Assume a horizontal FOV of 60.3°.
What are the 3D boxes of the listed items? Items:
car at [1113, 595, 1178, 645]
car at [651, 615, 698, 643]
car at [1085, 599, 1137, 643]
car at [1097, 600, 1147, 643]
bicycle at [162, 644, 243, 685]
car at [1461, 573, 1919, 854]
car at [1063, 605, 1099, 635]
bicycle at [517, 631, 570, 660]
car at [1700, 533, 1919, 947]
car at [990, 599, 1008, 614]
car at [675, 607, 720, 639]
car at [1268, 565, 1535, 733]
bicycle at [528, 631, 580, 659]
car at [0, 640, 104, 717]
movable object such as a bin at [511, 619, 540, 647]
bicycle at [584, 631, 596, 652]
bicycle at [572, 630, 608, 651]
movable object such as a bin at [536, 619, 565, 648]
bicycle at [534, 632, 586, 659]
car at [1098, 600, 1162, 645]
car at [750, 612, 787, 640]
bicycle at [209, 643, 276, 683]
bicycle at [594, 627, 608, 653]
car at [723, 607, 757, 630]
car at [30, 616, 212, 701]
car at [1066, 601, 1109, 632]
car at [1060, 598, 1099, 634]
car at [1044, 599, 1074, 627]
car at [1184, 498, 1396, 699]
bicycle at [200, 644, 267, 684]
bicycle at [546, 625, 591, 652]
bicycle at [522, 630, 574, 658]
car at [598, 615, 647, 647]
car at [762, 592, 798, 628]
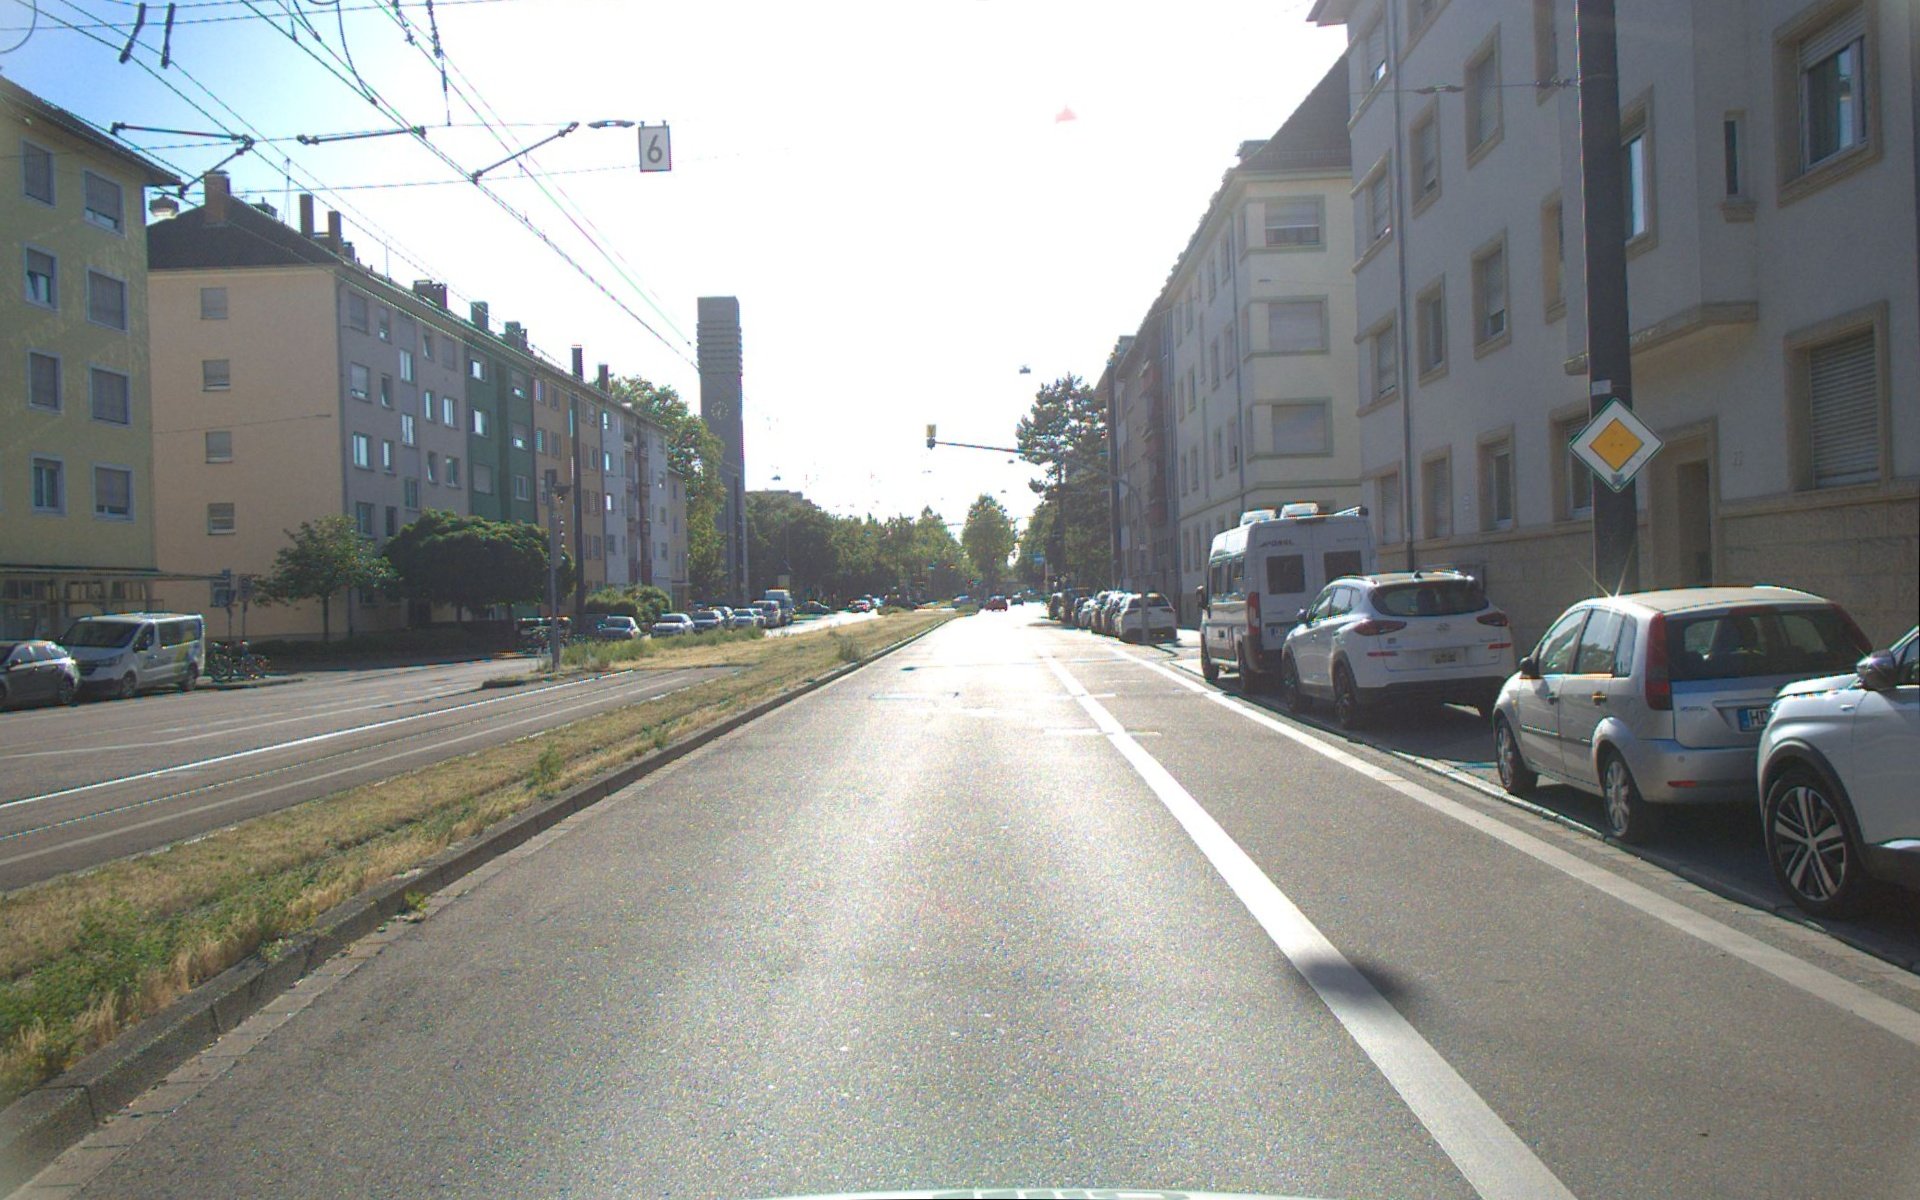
[{"bbox_3d":[5.933,0.612,53.205,1.659,1.484,4.380,-2,0,2],"label":"car"},{"bbox_3d":[-15.724,1.571,91.236,1.693,1.480,4.376,-1,0,1],"label":"car"},{"bbox_3d":[6.286,0.867,69.365,1.603,1.676,4.373,-4,0,-1],"label":"car"},{"bbox_3d":[6.243,0.804,64.050,1.602,1.544,4.189,-2,0,2],"label":"car"},{"bbox_3d":[-21.447,1.825,46.827,2.054,1.125,0.473,1,-1,1],"label":"bicycle"},{"bbox_3d":[4.830,0.643,11.412,1.588,1.486,4.056,-4,0,3],"label":"car"},{"bbox_3d":[6.410,1.042,87.766,1.602,1.479,3.790,-4,0,1],"label":"car"},{"bbox_3d":[-16.996,1.846,67.529,2.004,1.112,0.616,1,0,7],"label":"bicycle"},{"bbox_3d":[4.877,0.529,6.484,1.765,1.726,4.490,-5,0,-1],"label":"car"},{"bbox_3d":[4.030,0.638,170.544,1.660,1.535,3.698,0,0,-1],"label":"car"},{"bbox_3d":[-16.085,1.386,101.549,1.952,1.870,4.610,1,0,1],"label":"car"},{"bbox_3d":[5.037,0.522,19.569,1.810,1.666,4.574,-3,0,-1],"label":"car"},{"bbox_3d":[-16.901,1.888,68.925,2.004,1.112,0.616,1,0,7],"label":"bicycle"},{"bbox_3d":[-21.141,1.711,36.752,1.746,1.500,4.596,1,0,1],"label":"car"},{"bbox_3d":[-21.688,1.635,82.560,1.123,1.392,1.039,1,-1,4],"label":"movable object such as a bin"},{"bbox_3d":[-16.201,1.803,72.426,0.369,0.881,2.049,1,0,-10],"label":"bicycle"},{"bbox_3d":[-16.177,1.751,72.292,1.550,0.885,0.417,1,-1,24],"label":"bicycle"},{"bbox_3d":[-20.421,1.656,82.486,1.123,1.392,1.039,1,-1,4],"label":"movable object such as a bin"},{"bbox_3d":[-16.834,1.908,69.657,2.004,1.112,0.616,1,0,7],"label":"bicycle"},{"bbox_3d":[5.988,0.784,58.676,1.603,1.484,4.079,-2,0,-3],"label":"car"},{"bbox_3d":[-14.798,1.994,128.019,1.990,2.056,5.372,1,0,2],"label":"car"},{"bbox_3d":[-21.281,1.866,49.051,1.781,1.125,0.390,1,-1,1],"label":"bicycle"},{"bbox_3d":[-15.741,1.751,72.526,0.500,1.112,1.931,1,0,-10],"label":"bicycle"},{"bbox_3d":[-15.432,1.290,116.206,1.853,1.517,4.702,0,0,-1],"label":"car"},{"bbox_3d":[-21.361,1.433,42.408,1.953,1.983,5.498,1,0,-2],"label":"car"},{"bbox_3d":[6.143,0.795,80.000,1.668,1.297,4.303,-5,0,0],"label":"car"},{"bbox_3d":[7.125,0.938,99.162,1.874,1.932,5.135,-5,0,1],"label":"car"},{"bbox_3d":[6.843,0.912,114.306,1.840,1.746,4.935,-5,0,2],"label":"car"},{"bbox_3d":[5.126,-0.008,26.720,2.107,2.743,6.292,-4,0,1],"label":"car"},{"bbox_3d":[-21.338,1.876,48.612,1.781,1.125,0.390,1,-1,1],"label":"bicycle"},{"bbox_3d":[-16.991,1.648,71.730,2.009,1.112,0.614,1,0,28],"label":"bicycle"},{"bbox_3d":[-16.997,1.814,68.241,2.004,1.112,0.616,1,0,7],"label":"bicycle"},{"bbox_3d":[-15.948,1.462,78.338,1.602,1.467,3.733,1,0,-1],"label":"car"},{"bbox_3d":[-14.732,0.821,135.502,1.990,2.919,6.229,0,0,2],"label":"car"}]
